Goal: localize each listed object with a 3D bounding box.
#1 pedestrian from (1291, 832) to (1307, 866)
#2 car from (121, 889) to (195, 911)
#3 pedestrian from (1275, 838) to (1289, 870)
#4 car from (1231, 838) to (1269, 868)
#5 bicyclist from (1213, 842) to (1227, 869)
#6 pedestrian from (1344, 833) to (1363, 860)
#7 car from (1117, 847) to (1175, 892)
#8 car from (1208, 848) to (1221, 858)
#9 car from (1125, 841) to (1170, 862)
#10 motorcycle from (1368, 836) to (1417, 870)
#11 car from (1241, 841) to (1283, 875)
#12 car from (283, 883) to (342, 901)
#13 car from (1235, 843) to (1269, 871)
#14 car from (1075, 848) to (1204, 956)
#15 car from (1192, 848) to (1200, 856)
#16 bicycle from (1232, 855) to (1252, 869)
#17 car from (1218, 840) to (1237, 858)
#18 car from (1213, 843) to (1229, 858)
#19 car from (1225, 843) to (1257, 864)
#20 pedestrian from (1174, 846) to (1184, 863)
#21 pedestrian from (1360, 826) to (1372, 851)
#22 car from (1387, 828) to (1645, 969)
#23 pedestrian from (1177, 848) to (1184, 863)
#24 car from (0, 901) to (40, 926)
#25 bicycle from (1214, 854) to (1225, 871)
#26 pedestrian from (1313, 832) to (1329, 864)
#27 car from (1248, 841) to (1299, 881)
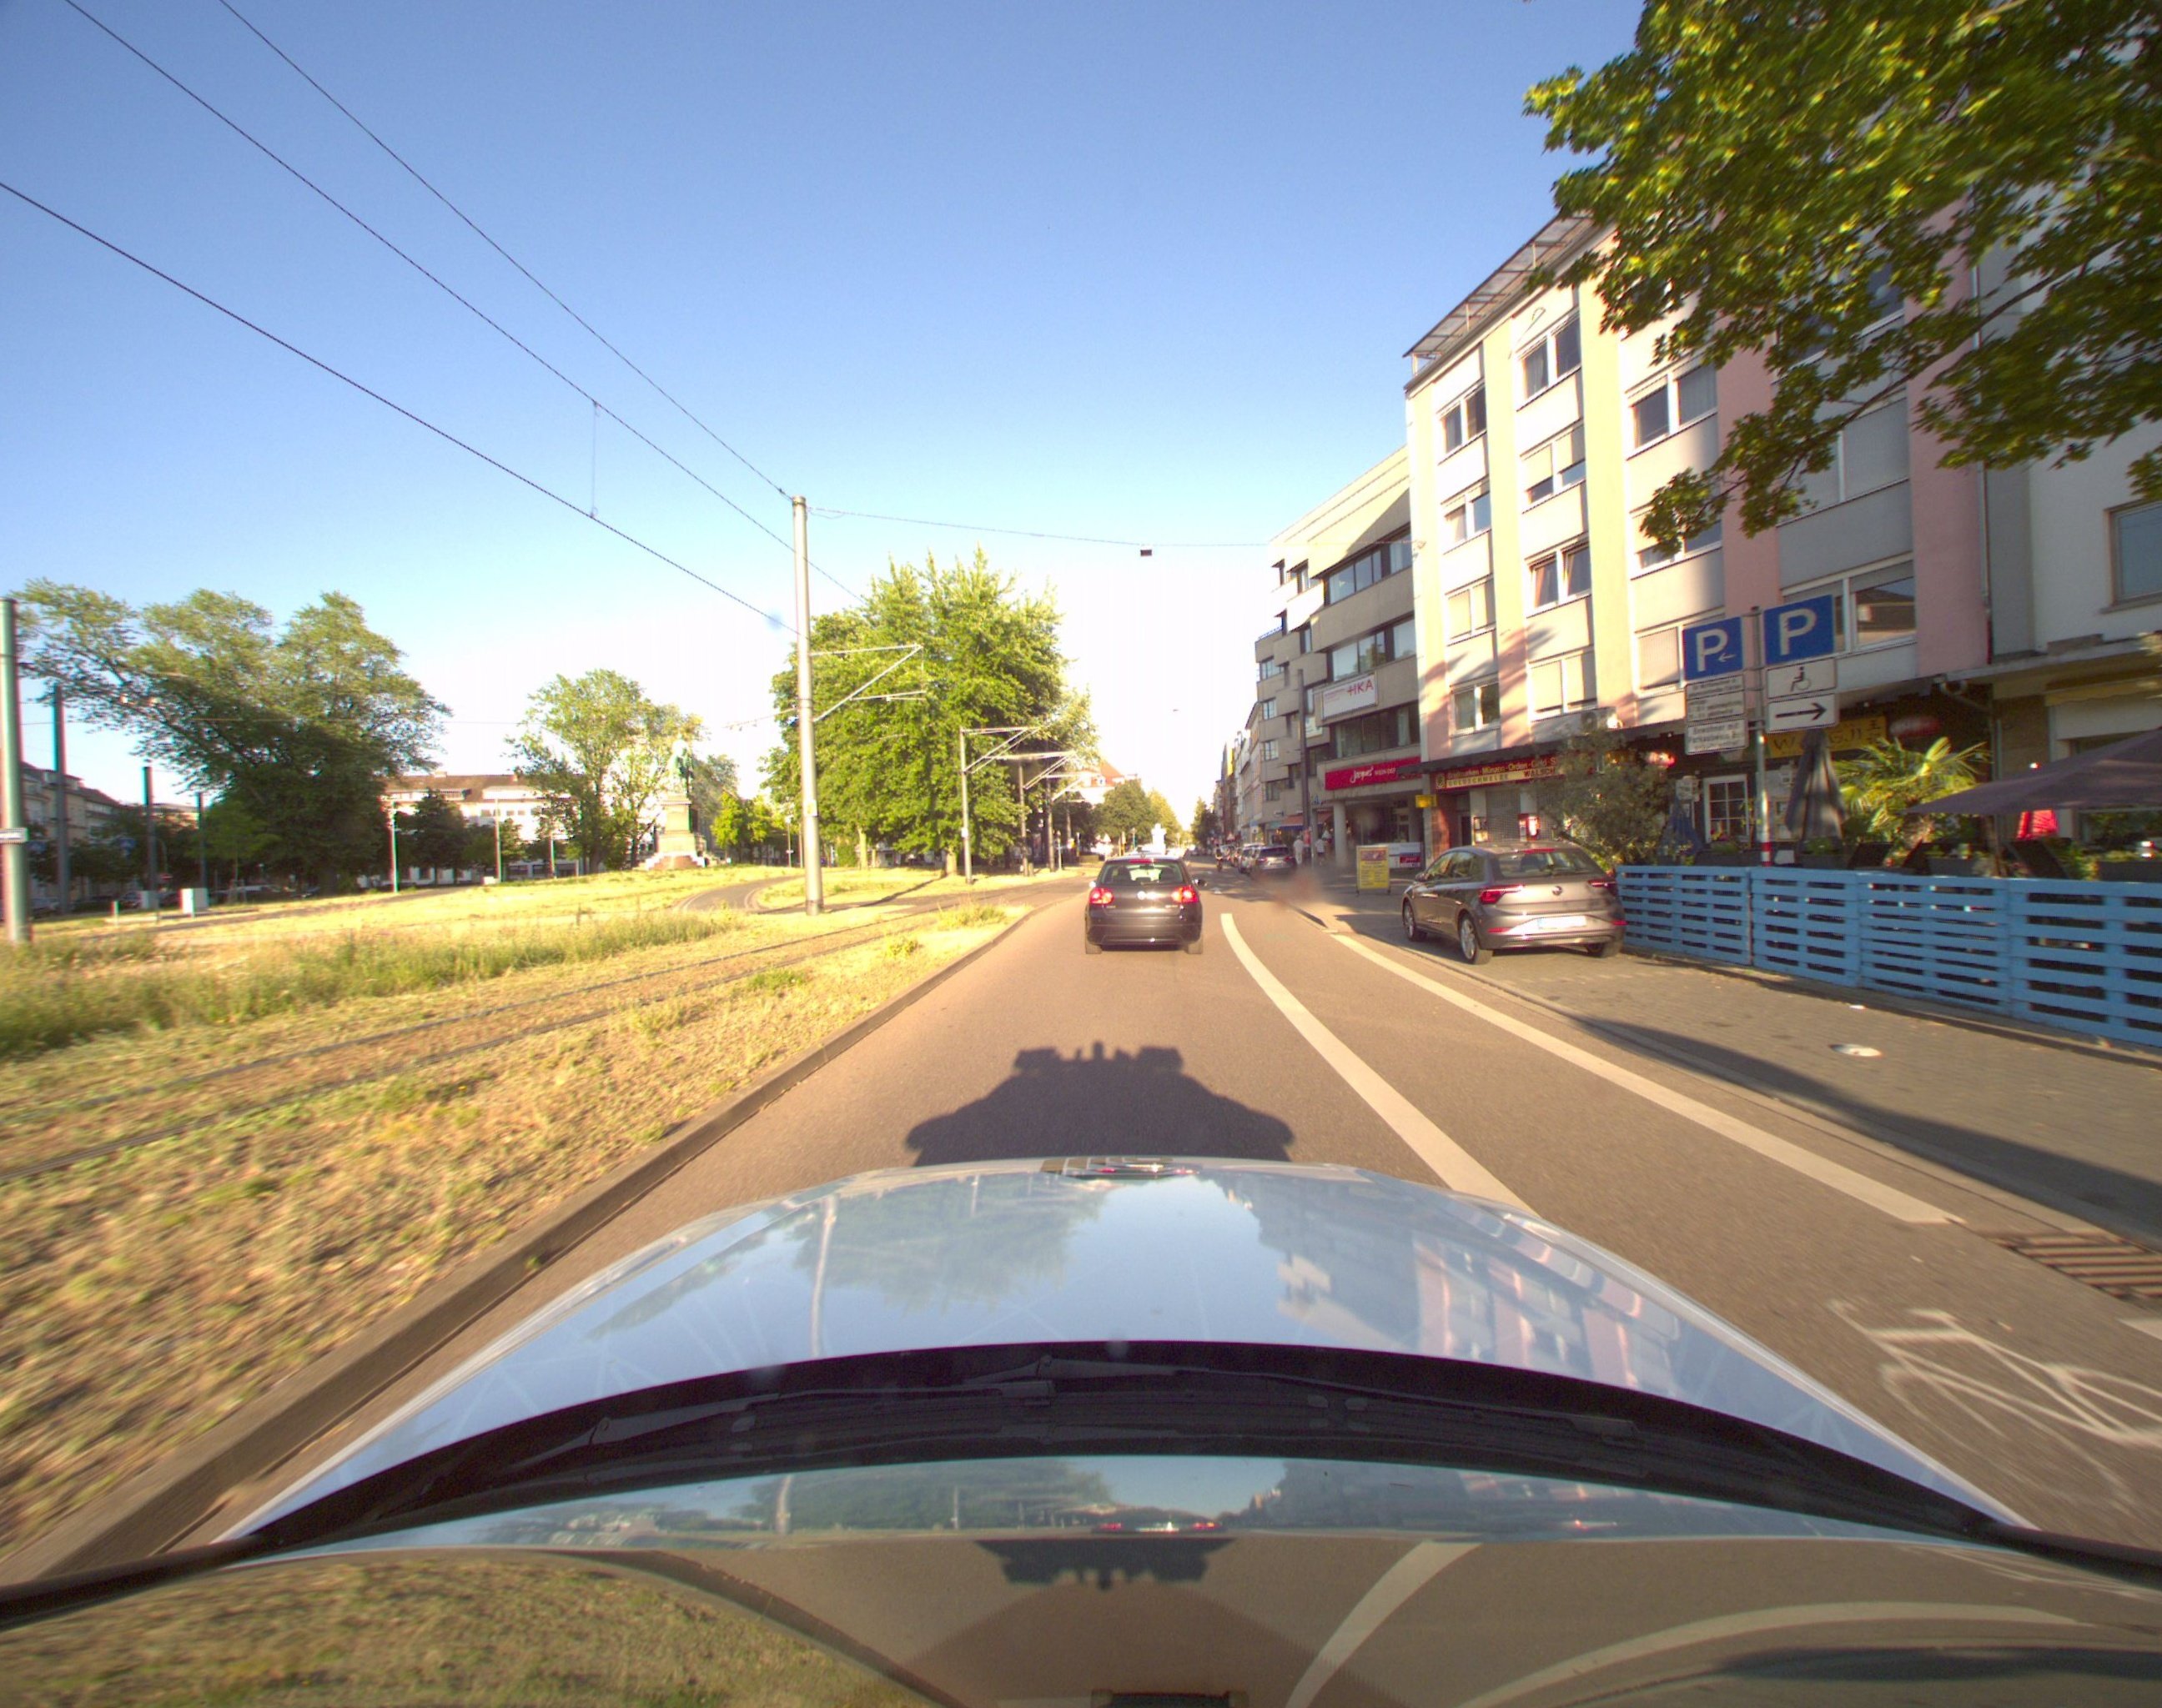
[{"bbox_3d":[12.311,-0.284,46.000,0.619,1.858,0.663,-5,-1,9],"label":"pedestrian"},{"bbox_3d":[-67.238,3.309,59.398,1.548,1.354,3.513,-1,0,-6],"label":"car"},{"bbox_3d":[11.473,-0.023,46.403,0.575,1.760,0.663,-5,-1,9],"label":"pedestrian"},{"bbox_3d":[10.974,-0.065,53.077,1.858,1.713,4.512,-5,0,6],"label":"car"},{"bbox_3d":[8.287,0.083,48.618,0.773,1.618,1.027,-1,0,7],"label":"bicyclist"},{"bbox_3d":[17.665,-0.484,52.871,0.983,1.673,0.643,-3,0,8],"label":"pedestrian"},{"bbox_3d":[2.402,0.497,29.260,1.855,1.441,4.205,-2,0,6],"label":"car"},{"bbox_3d":[21.779,-0.174,132.731,1.743,1.510,3.552,-4,0,6],"label":"car"},{"bbox_3d":[8.800,-0.330,107.501,5.528,2.594,2.141,-2,0,-19],"label":"car"},{"bbox_3d":[13.075,-0.038,34.244,1.780,1.331,0.582,-4,0,-5],"label":"motorcycle"},{"bbox_3d":[9.167,0.191,41.505,1.599,1.556,3.617,-5,0,7],"label":"car"},{"bbox_3d":[-67.892,3.354,71.993,1.540,1.354,3.530,-1,0,9],"label":"car"},{"bbox_3d":[9.874,0.156,47.224,1.652,1.441,3.865,-5,0,10],"label":"car"},{"bbox_3d":[1.077,0.659,13.339,1.738,1.461,4.112,-2,0,7],"label":"car"},{"bbox_3d":[26.339,-0.439,186.687,1.896,1.552,4.008,-2,0,7],"label":"car"},{"bbox_3d":[14.431,0.697,72.907,1.586,1.119,0.616,-4,0,41],"label":"bicycle"},{"bbox_3d":[15.932,-0.550,88.868,1.725,1.800,3.925,-4,0,7],"label":"car"},{"bbox_3d":[18.358,-0.472,106.694,1.914,1.841,4.027,-4,0,9],"label":"car"},{"bbox_3d":[11.923,-0.029,60.728,1.656,1.441,3.825,-5,0,2],"label":"car"},{"bbox_3d":[9.535,0.047,79.224,0.856,1.706,0.941,-1,0,1],"label":"pedestrian"},{"bbox_3d":[20.119,-1.063,57.475,0.598,1.759,0.518,-1,0,-16],"label":"pedestrian"},{"bbox_3d":[5.647,0.504,11.166,1.719,1.472,3.906,-5,0,7],"label":"car"},{"bbox_3d":[10.572,0.142,86.685,0.732,1.555,0.633,-2,0,4],"label":"pedestrian"},{"bbox_3d":[-63.733,3.539,48.047,1.576,1.258,3.691,-2,0,-31],"label":"car"},{"bbox_3d":[8.278,0.474,48.653,0.576,0.987,1.940,-1,0,7],"label":"bicycle"},{"bbox_3d":[13.586,-0.352,46.110,0.619,1.740,0.663,-5,-1,9],"label":"pedestrian"},{"bbox_3d":[8.562,0.276,36.583,1.772,1.556,4.244,-5,0,8],"label":"car"}]
